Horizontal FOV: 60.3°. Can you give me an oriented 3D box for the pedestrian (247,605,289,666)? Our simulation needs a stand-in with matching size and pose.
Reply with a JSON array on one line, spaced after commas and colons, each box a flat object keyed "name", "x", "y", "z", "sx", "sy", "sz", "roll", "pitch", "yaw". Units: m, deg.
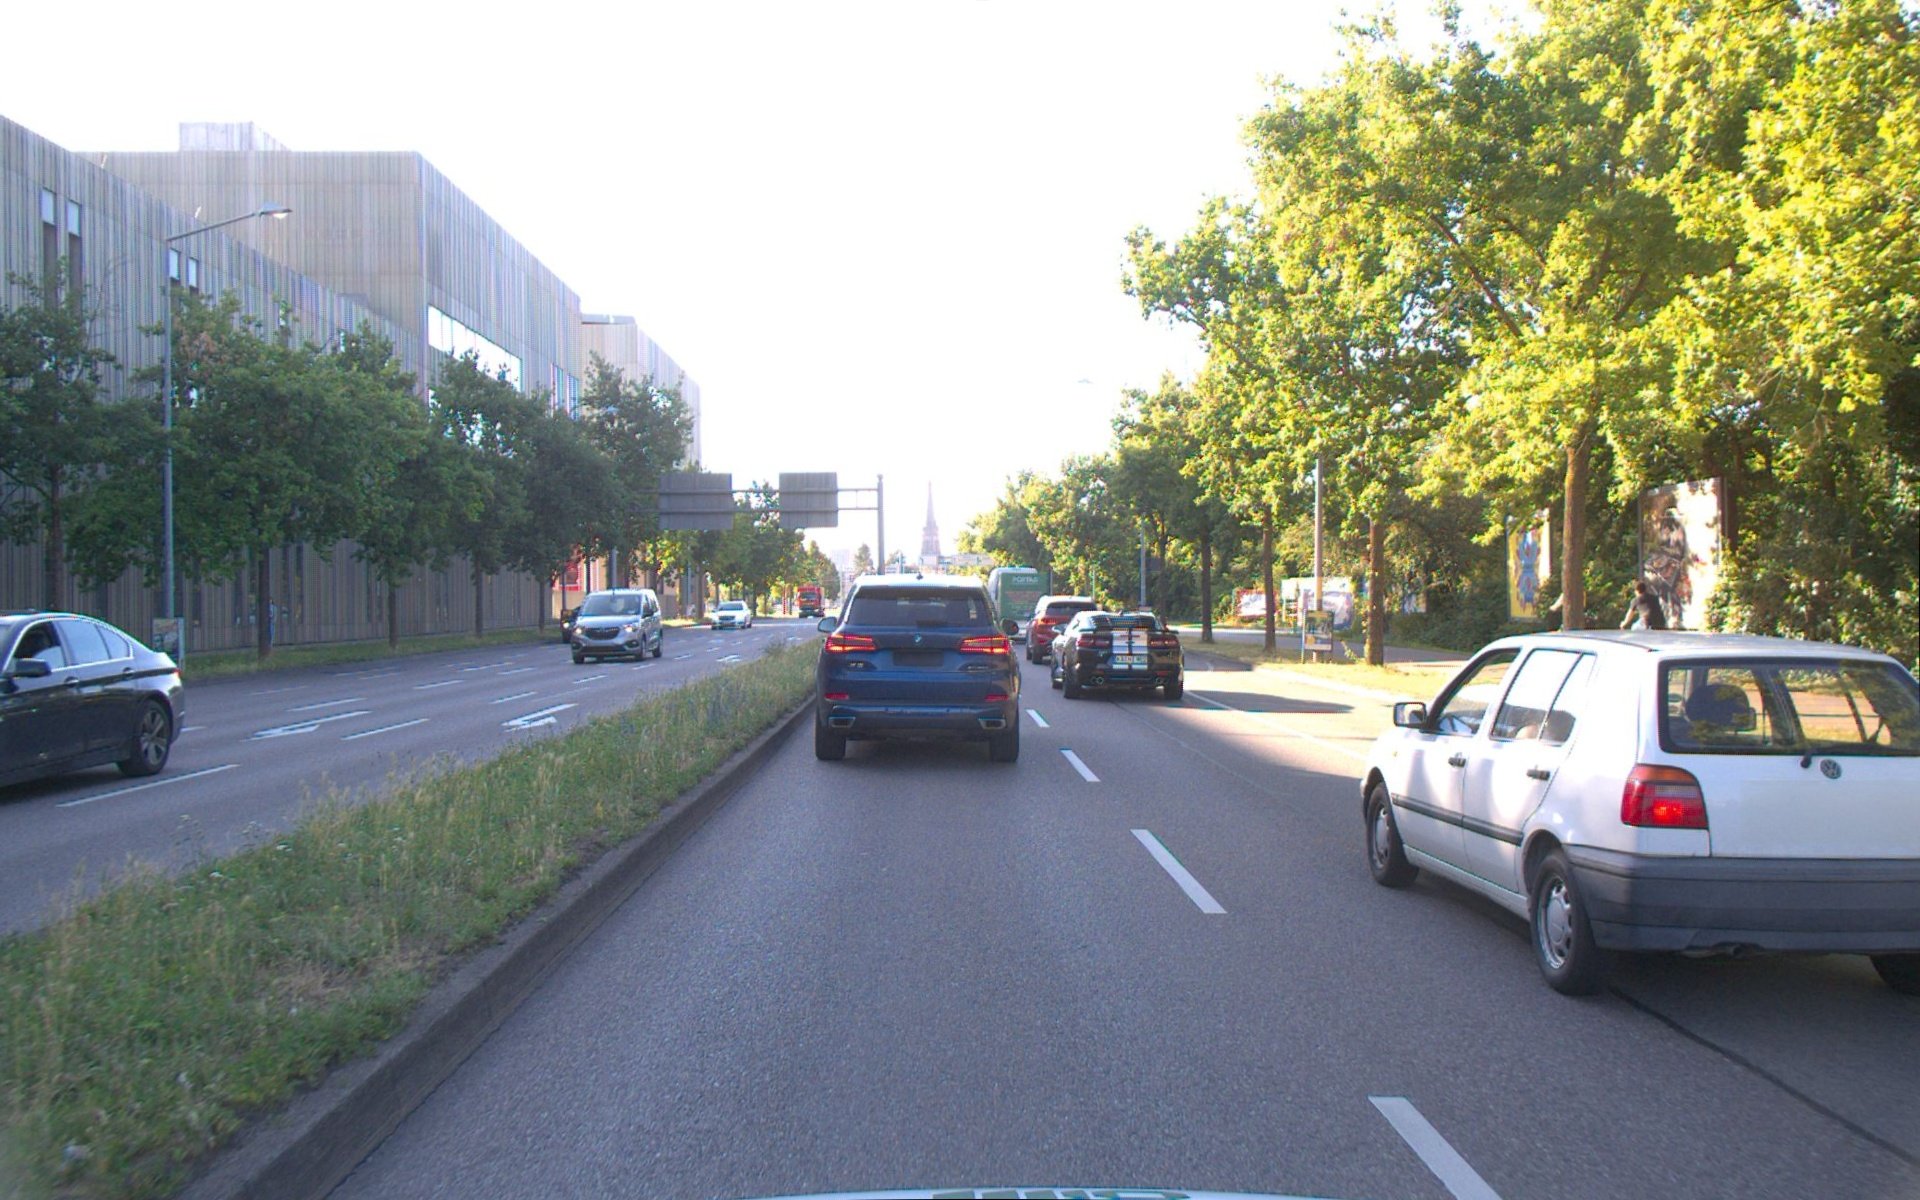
[{"name": "pedestrian", "x": -23.623, "y": 1.203, "z": 56.467, "sx": 0.998, "sy": 2.049, "sz": 0.961, "roll": 1, "pitch": -1, "yaw": -1}]

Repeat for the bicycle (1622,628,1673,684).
[{"name": "bicycle", "x": 11.721, "y": 0.946, "z": 28.200, "sx": 0.428, "sy": 0.930, "sz": 1.026, "roll": 1, "pitch": -1, "yaw": -1}]

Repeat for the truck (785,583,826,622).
[{"name": "truck", "x": -17.531, "y": 0.324, "z": 188.541, "sx": 3.908, "sy": 4.160, "sz": 11.442, "roll": 1, "pitch": -1, "yaw": -2}]

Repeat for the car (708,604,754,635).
[{"name": "car", "x": -12.469, "y": 1.088, "z": 90.475, "sx": 1.954, "sy": 1.477, "sz": 4.712, "roll": -4, "pitch": -1, "yaw": -2}]

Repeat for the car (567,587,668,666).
[{"name": "car", "x": -8.760, "y": 0.680, "z": 42.666, "sx": 1.721, "sy": 1.808, "sz": 4.492, "roll": -4, "pitch": -1, "yaw": -2}]

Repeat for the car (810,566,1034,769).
[{"name": "car", "x": -0.373, "y": 0.643, "z": 16.907, "sx": 1.953, "sy": 1.764, "sz": 4.531, "roll": 1, "pitch": -1, "yaw": -1}]

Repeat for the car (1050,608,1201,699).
[{"name": "car", "x": 2.587, "y": 0.841, "z": 26.682, "sx": 1.953, "sy": 1.317, "sz": 3.999, "roll": 1, "pitch": -1, "yaw": -1}]

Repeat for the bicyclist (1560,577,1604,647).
[{"name": "bicyclist", "x": 12.103, "y": 0.237, "z": 32.186, "sx": 0.532, "sy": 1.339, "sz": 0.835, "roll": 1, "pitch": -1, "yaw": -1}]

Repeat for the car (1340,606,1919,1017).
[{"name": "car", "x": 3.117, "y": 0.793, "z": 7.888, "sx": 1.547, "sy": 1.438, "sz": 4.060, "roll": 1, "pitch": -1, "yaw": -2}]

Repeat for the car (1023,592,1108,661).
[{"name": "car", "x": 2.537, "y": 0.662, "z": 40.541, "sx": 1.760, "sy": 1.586, "sz": 3.999, "roll": 1, "pitch": -1, "yaw": -1}]

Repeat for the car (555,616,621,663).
[{"name": "car", "x": -15.112, "y": 1.593, "z": 67.329, "sx": 1.721, "sy": 1.734, "sz": 4.492, "roll": -4, "pitch": -1, "yaw": -2}]

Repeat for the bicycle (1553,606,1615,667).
[{"name": "bicycle", "x": 12.099, "y": 0.707, "z": 32.101, "sx": 0.553, "sy": 1.132, "sz": 1.621, "roll": 1, "pitch": -1, "yaw": -1}]

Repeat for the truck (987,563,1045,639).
[{"name": "truck", "x": 2.083, "y": 0.075, "z": 62.367, "sx": 1.955, "sy": 2.715, "sz": 3.999, "roll": 1, "pitch": -1, "yaw": -1}]

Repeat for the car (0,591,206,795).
[{"name": "car", "x": -7.974, "y": 0.769, "z": 13.022, "sx": 1.954, "sy": 1.477, "sz": 4.796, "roll": -4, "pitch": -1, "yaw": -2}]

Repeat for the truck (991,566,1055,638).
[{"name": "truck", "x": 2.152, "y": 0.106, "z": 57.546, "sx": 1.955, "sy": 2.356, "sz": 3.999, "roll": 1, "pitch": -1, "yaw": -1}]

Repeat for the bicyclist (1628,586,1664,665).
[{"name": "bicyclist", "x": 11.731, "y": 0.441, "z": 28.278, "sx": 0.419, "sy": 1.332, "sz": 0.459, "roll": 1, "pitch": -1, "yaw": -1}]

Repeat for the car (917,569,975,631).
[{"name": "car", "x": -0.662, "y": 0.053, "z": 73.604, "sx": 2.095, "sy": 2.621, "sz": 5.080, "roll": 1, "pitch": -1, "yaw": -6}]
